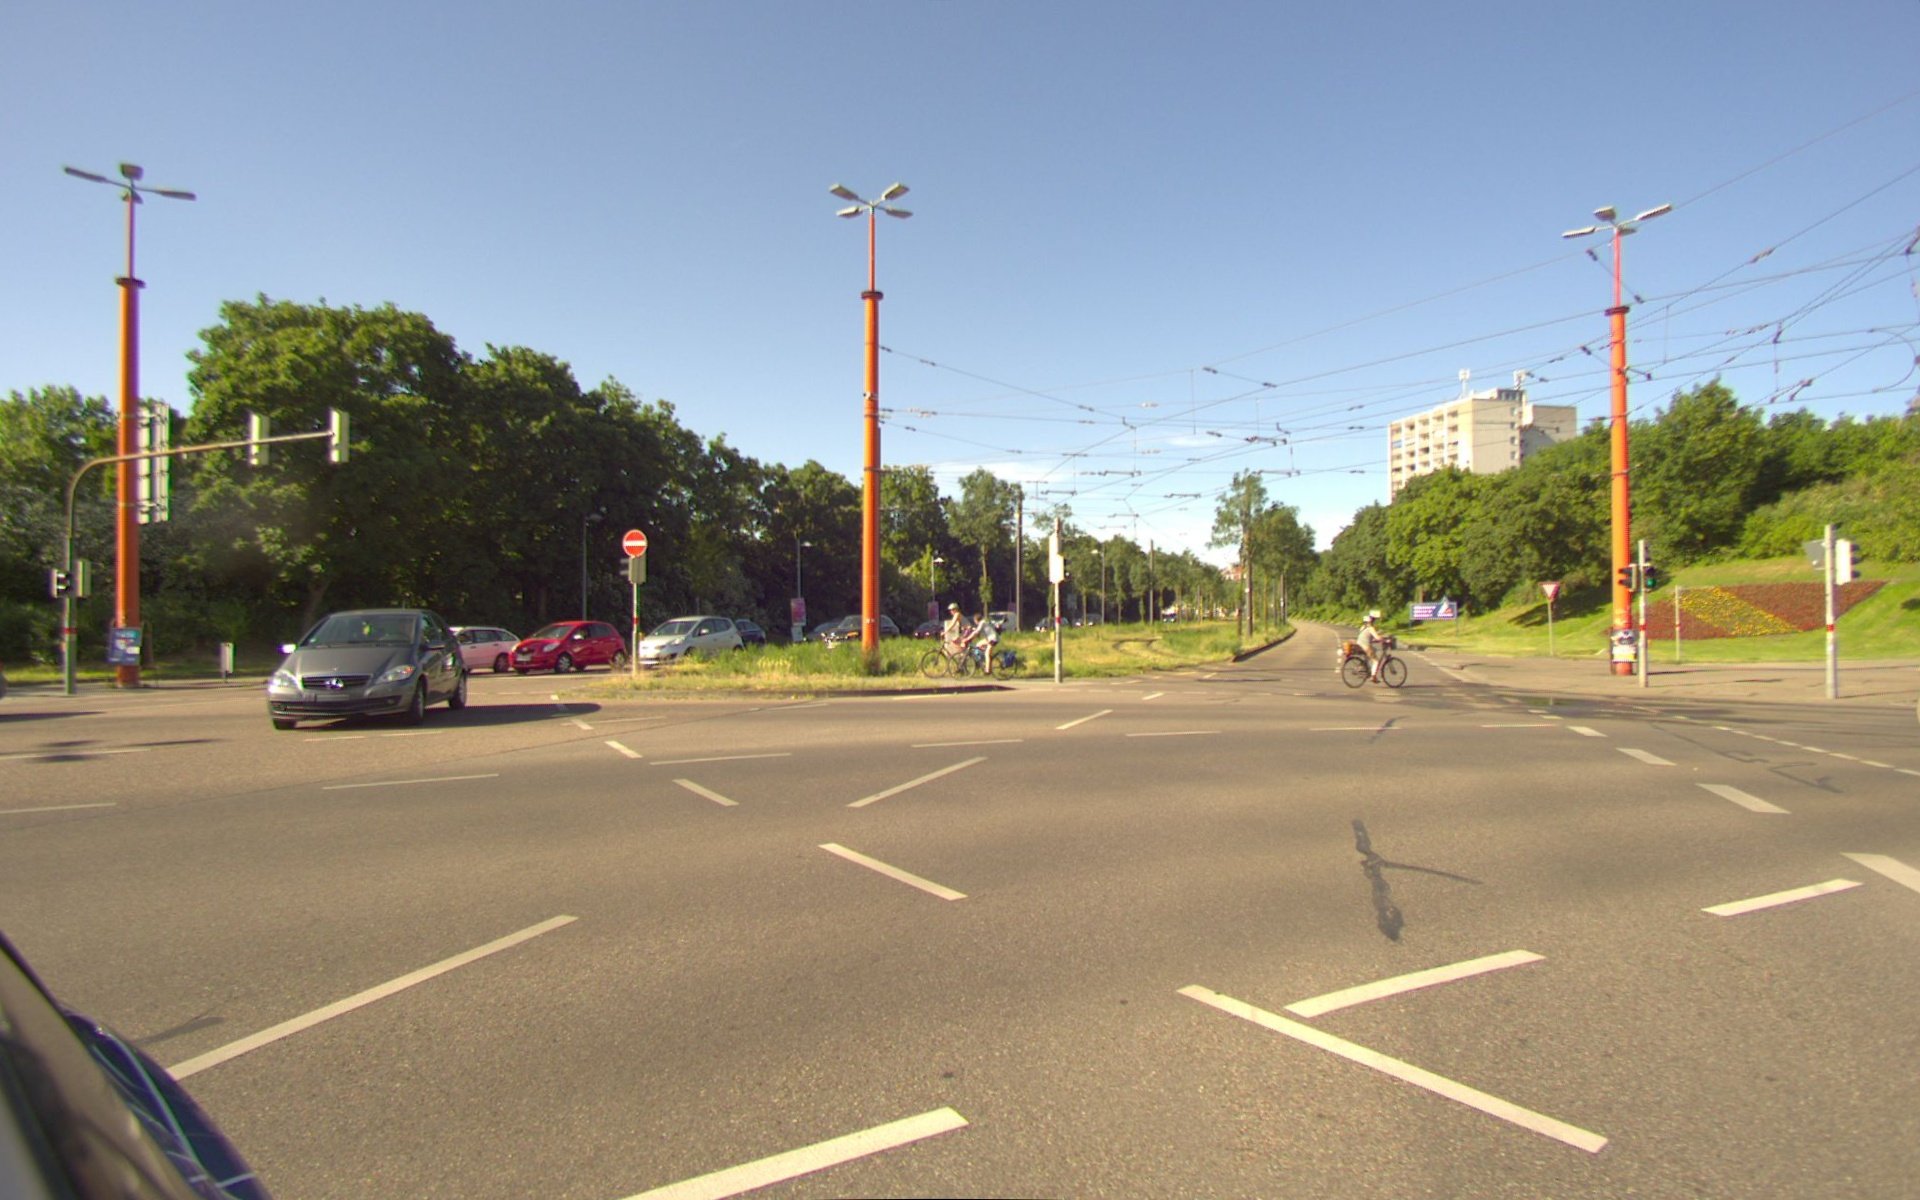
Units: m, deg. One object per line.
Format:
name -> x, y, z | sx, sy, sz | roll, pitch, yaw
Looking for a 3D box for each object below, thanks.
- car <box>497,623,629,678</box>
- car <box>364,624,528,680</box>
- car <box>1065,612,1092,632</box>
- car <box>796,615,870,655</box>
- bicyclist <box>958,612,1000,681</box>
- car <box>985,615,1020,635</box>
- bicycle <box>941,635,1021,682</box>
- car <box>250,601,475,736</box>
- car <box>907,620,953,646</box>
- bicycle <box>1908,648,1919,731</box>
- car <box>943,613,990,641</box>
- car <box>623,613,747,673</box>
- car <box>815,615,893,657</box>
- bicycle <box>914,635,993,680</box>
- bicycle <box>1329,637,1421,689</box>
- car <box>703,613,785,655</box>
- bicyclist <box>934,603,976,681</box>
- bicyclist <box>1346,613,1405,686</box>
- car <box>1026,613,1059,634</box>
car -> -11.802, 1.468, 30.295 | 1.673, 1.457, 3.704 | -2, -1, 19
car -> -15.141, 1.492, 30.097 | 1.737, 1.447, 4.357 | -2, -1, 20
car -> 10.876, 1.993, 92.865 | 1.682, 1.674, 3.802 | -2, -1, 19
car -> -5.723, 1.580, 46.176 | 1.737, 1.674, 3.974 | -2, -1, 19
bicyclist -> 0.457, 1.108, 24.329 | 0.910, 1.536, 0.721 | -2, 3, -2
car -> 3.386, 1.938, 79.788 | 1.702, 1.505, 3.937 | -2, -1, 20
bicycle -> 0.492, 1.405, 24.313 | 1.888, 1.080, 0.580 | 1, -1, -1
car -> -8.427, 0.914, 14.680 | 1.721, 1.653, 4.010 | -1, -2, -14
car -> -1.901, 2.123, 65.256 | 1.641, 1.541, 3.871 | -2, -1, 19
bicycle -> 12.678, 1.138, 12.248 | 0.683, 1.080, 1.912 | -2, -1, 6
car -> 0.418, 1.671, 63.665 | 1.737, 1.674, 3.974 | -2, -1, 19
car -> -8.412, 1.279, 31.263 | 1.737, 1.674, 3.974 | -2, -1, 19
car -> -4.354, 1.477, 42.148 | 1.737, 1.674, 3.974 | -1, -1, 19
bicycle -> -0.155, 1.439, 25.417 | 1.893, 1.080, 0.578 | -2, -1, 7
bicycle -> 9.571, 1.437, 23.358 | 1.883, 1.139, 0.742 | 0, -2, -16
car -> -9.465, 1.471, 44.636 | 1.737, 1.674, 3.974 | -2, -1, 19
bicyclist -> -0.118, 1.043, 25.443 | 0.913, 1.881, 0.891 | -2, -1, 6
bicyclist -> 9.581, 1.129, 23.366 | 0.813, 1.634, 0.895 | -1, -2, -17
car -> 6.578, 1.867, 80.230 | 1.619, 1.576, 3.788 | -2, -1, 19
